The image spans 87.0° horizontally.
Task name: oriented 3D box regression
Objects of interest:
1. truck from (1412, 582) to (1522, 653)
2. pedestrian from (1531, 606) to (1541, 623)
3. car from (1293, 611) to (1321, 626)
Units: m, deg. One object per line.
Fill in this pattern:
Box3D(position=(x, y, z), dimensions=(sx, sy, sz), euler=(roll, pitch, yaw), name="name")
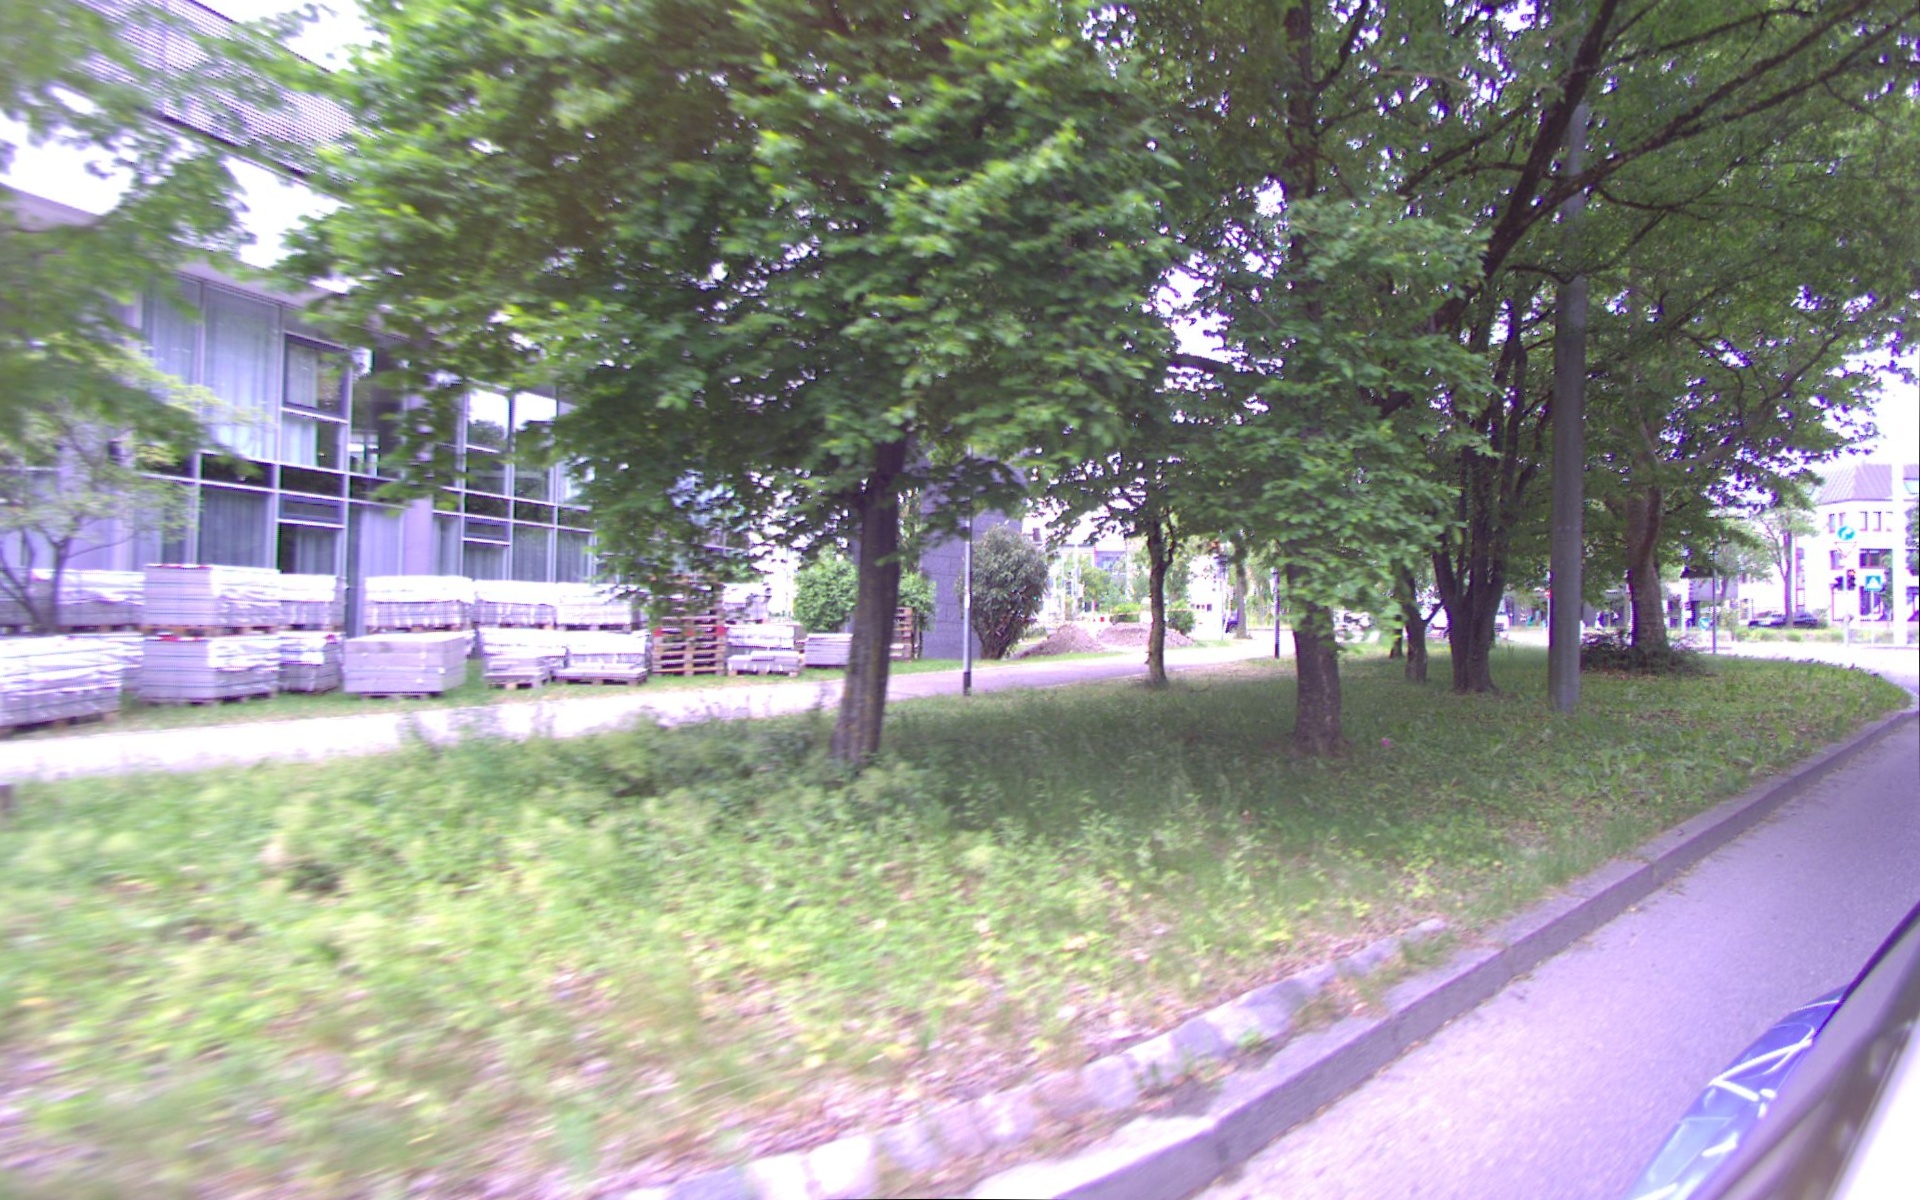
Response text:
Box3D(position=(24.578, 0.779, 49.390), dimensions=(2.393, 3.235, 6.461), euler=(0, 0, 3), name="truck")
Box3D(position=(48.566, 1.230, 85.311), dimensions=(0.528, 1.375, 0.655), euler=(-2, -3, 15), name="pedestrian")
Box3D(position=(40.131, 2.150, 117.096), dimensions=(1.842, 1.661, 3.825), euler=(-1, -3, 0), name="car")
